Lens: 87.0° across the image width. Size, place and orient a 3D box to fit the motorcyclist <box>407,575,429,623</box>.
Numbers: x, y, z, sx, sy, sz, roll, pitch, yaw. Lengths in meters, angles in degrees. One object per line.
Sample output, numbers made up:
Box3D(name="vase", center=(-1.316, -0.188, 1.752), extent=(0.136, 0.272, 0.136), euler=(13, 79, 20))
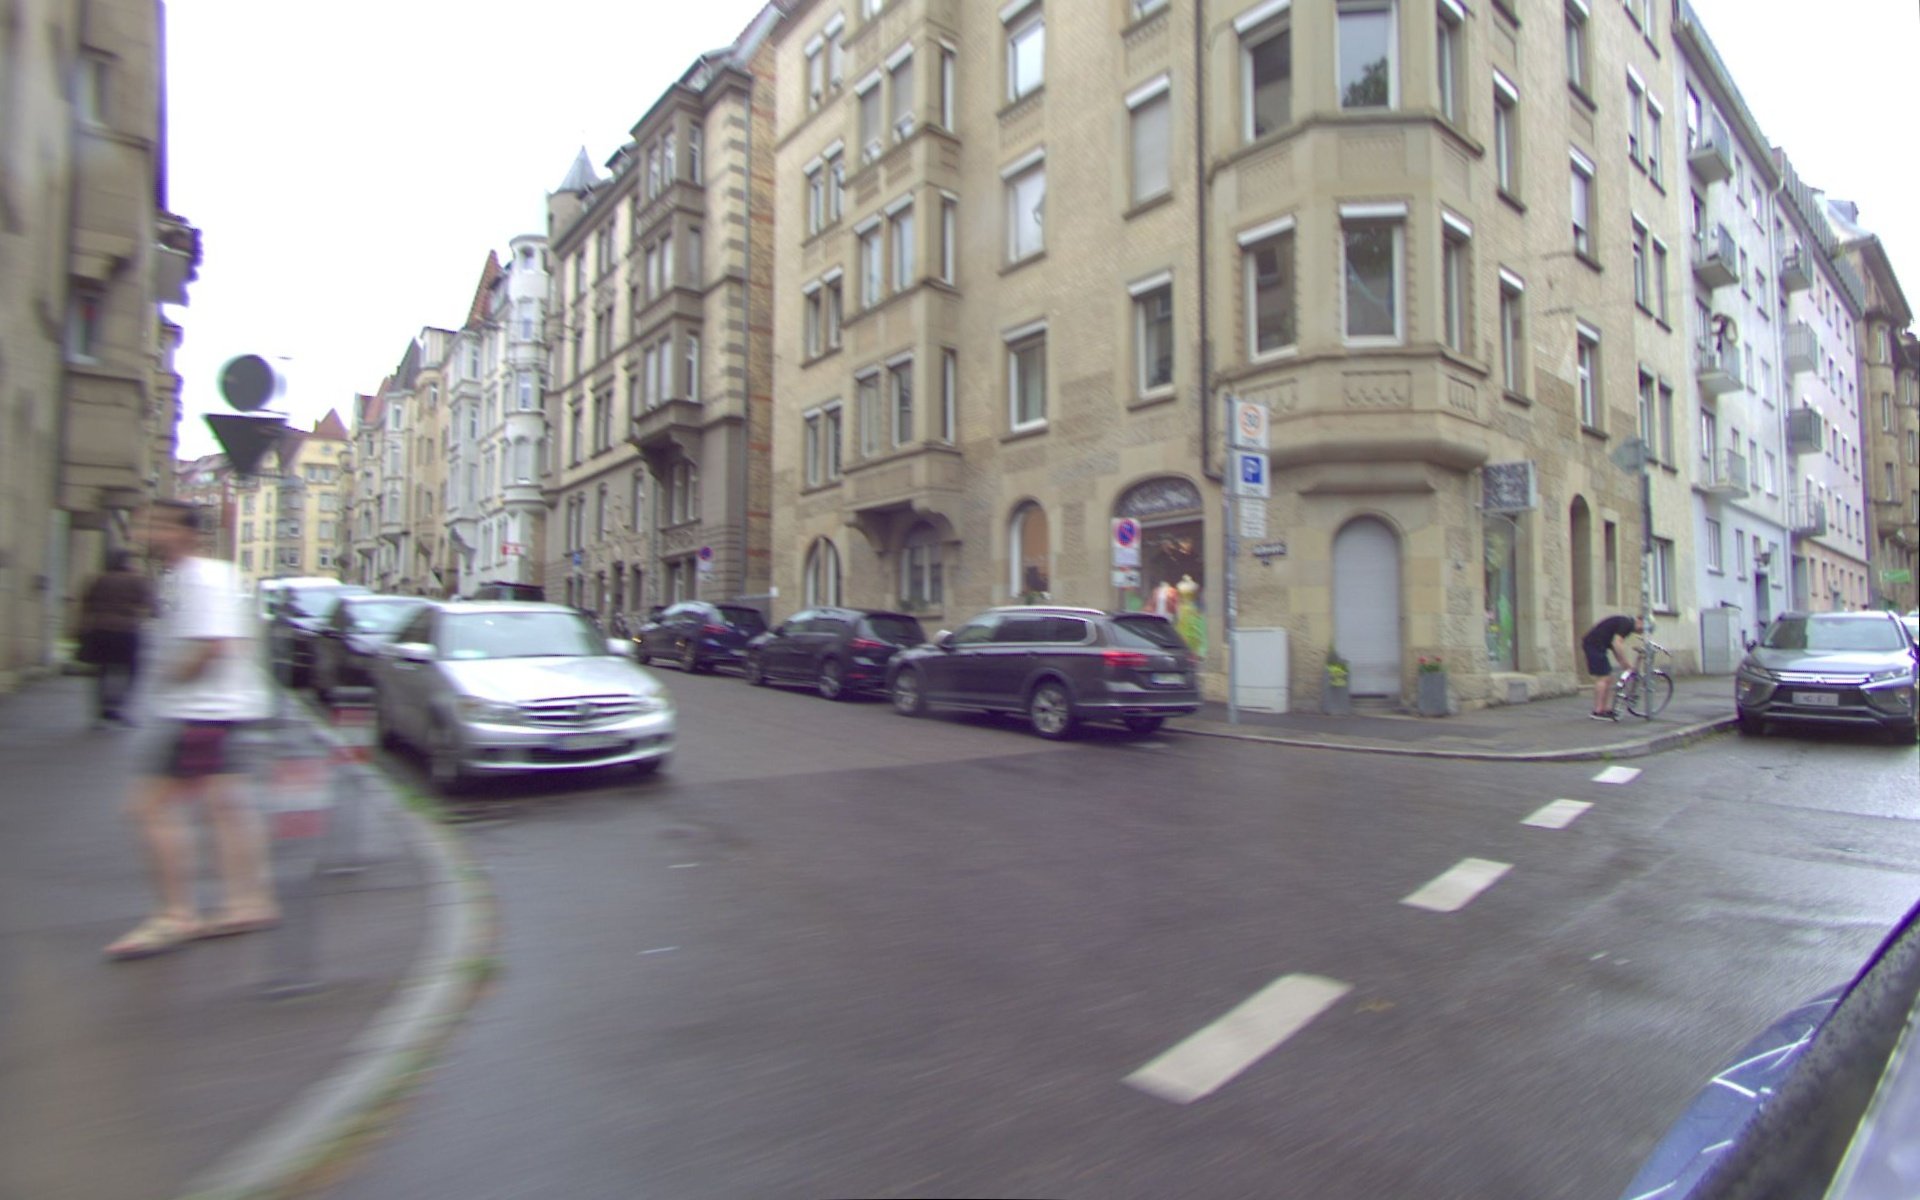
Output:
Box3D(name="motorcyclist", center=(-19.952, -0.029, 37.255), extent=(0.632, 1.731, 0.934), euler=(0, -1, -34))

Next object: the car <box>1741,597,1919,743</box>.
Box3D(name="car", center=(12.097, 0.833, 13.707), extent=(4.261, 1.690, 1.767), euler=(0, -2, -44))

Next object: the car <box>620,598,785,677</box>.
Box3D(name="car", center=(-5.460, 0.704, 21.142), extent=(1.830, 1.461, 4.138), euler=(1, 0, -38))

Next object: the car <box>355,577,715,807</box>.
Box3D(name="car", center=(-4.022, 0.626, 9.115), extent=(1.858, 1.551, 4.346), euler=(0, 0, -39))

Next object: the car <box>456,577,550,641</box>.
Box3D(name="car", center=(-15.610, 0.320, 34.451), extent=(1.963, 2.039, 4.324), euler=(0, -1, -38))

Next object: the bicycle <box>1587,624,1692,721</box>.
Box3D(name="bicycle", center=(9.022, 0.914, 13.407), extent=(2.091, 1.149, 0.622), euler=(0, -1, -41))

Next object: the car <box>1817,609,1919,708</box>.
Box3D(name="car", center=(16.369, 0.941, 17.561), extent=(3.930, 1.549, 1.695), euler=(0, -2, -41))

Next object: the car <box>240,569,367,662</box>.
Box3D(name="car", center=(-14.314, 0.287, 21.952), extent=(1.964, 1.700, 4.311), euler=(-4, 2, -37))

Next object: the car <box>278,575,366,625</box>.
Box3D(name="car", center=(-23.296, 0.043, 36.924), extent=(3.986, 1.728, 1.845), euler=(-1, -1, 44))

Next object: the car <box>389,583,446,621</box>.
Box3D(name="car", center=(-25.474, 0.107, 47.459), extent=(1.719, 1.714, 3.996), euler=(0, -1, -38))

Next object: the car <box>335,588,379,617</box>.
Box3D(name="car", center=(-36.678, 0.162, 61.477), extent=(1.720, 1.714, 3.994), euler=(0, -1, -40))

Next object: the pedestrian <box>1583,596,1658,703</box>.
Box3D(name="pedestrian", center=(8.852, 0.646, 13.572), extent=(0.631, 1.387, 0.671), euler=(0, -1, -41))

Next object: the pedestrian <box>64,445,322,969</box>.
Box3D(name="pedestrian", center=(-3.037, 0.364, 4.006), extent=(0.745, 1.809, 0.695), euler=(0, 0, -42))

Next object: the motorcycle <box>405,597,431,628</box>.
Box3D(name="motorcycle", center=(-19.956, 0.475, 37.269), extent=(0.632, 1.112, 2.290), euler=(0, -1, -34))

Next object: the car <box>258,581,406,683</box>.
Box3D(name="car", center=(-10.987, 0.480, 17.574), extent=(1.744, 1.501, 4.289), euler=(-2, 1, -37))

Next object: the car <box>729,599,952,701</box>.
Box3D(name="car", center=(-2.120, 0.736, 16.962), extent=(1.830, 1.461, 4.138), euler=(1, 0, -38))

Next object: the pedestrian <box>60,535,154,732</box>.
Box3D(name="pedestrian", center=(-7.722, 0.290, 9.183), extent=(0.615, 1.710, 0.549), euler=(0, -1, -37))

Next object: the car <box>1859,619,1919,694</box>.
Box3D(name="car", center=(19.704, 1.091, 20.510), extent=(4.385, 1.364, 1.719), euler=(0, -2, -42))

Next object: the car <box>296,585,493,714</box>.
Box3D(name="car", center=(-7.821, 0.536, 13.790), extent=(1.744, 1.438, 4.290), euler=(0, 1, -38))

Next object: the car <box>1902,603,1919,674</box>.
Box3D(name="car", center=(25.798, 0.943, 25.981), extent=(4.387, 1.773, 1.831), euler=(0, -2, -40))

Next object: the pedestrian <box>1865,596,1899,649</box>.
Box3D(name="pedestrian", center=(33.010, 0.791, 36.231), extent=(1.020, 1.857, 0.747), euler=(1, 0, -40))

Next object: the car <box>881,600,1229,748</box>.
Box3D(name="car", center=(1.000, 0.772, 12.777), extent=(1.830, 1.503, 4.461), euler=(1, 0, -38))
